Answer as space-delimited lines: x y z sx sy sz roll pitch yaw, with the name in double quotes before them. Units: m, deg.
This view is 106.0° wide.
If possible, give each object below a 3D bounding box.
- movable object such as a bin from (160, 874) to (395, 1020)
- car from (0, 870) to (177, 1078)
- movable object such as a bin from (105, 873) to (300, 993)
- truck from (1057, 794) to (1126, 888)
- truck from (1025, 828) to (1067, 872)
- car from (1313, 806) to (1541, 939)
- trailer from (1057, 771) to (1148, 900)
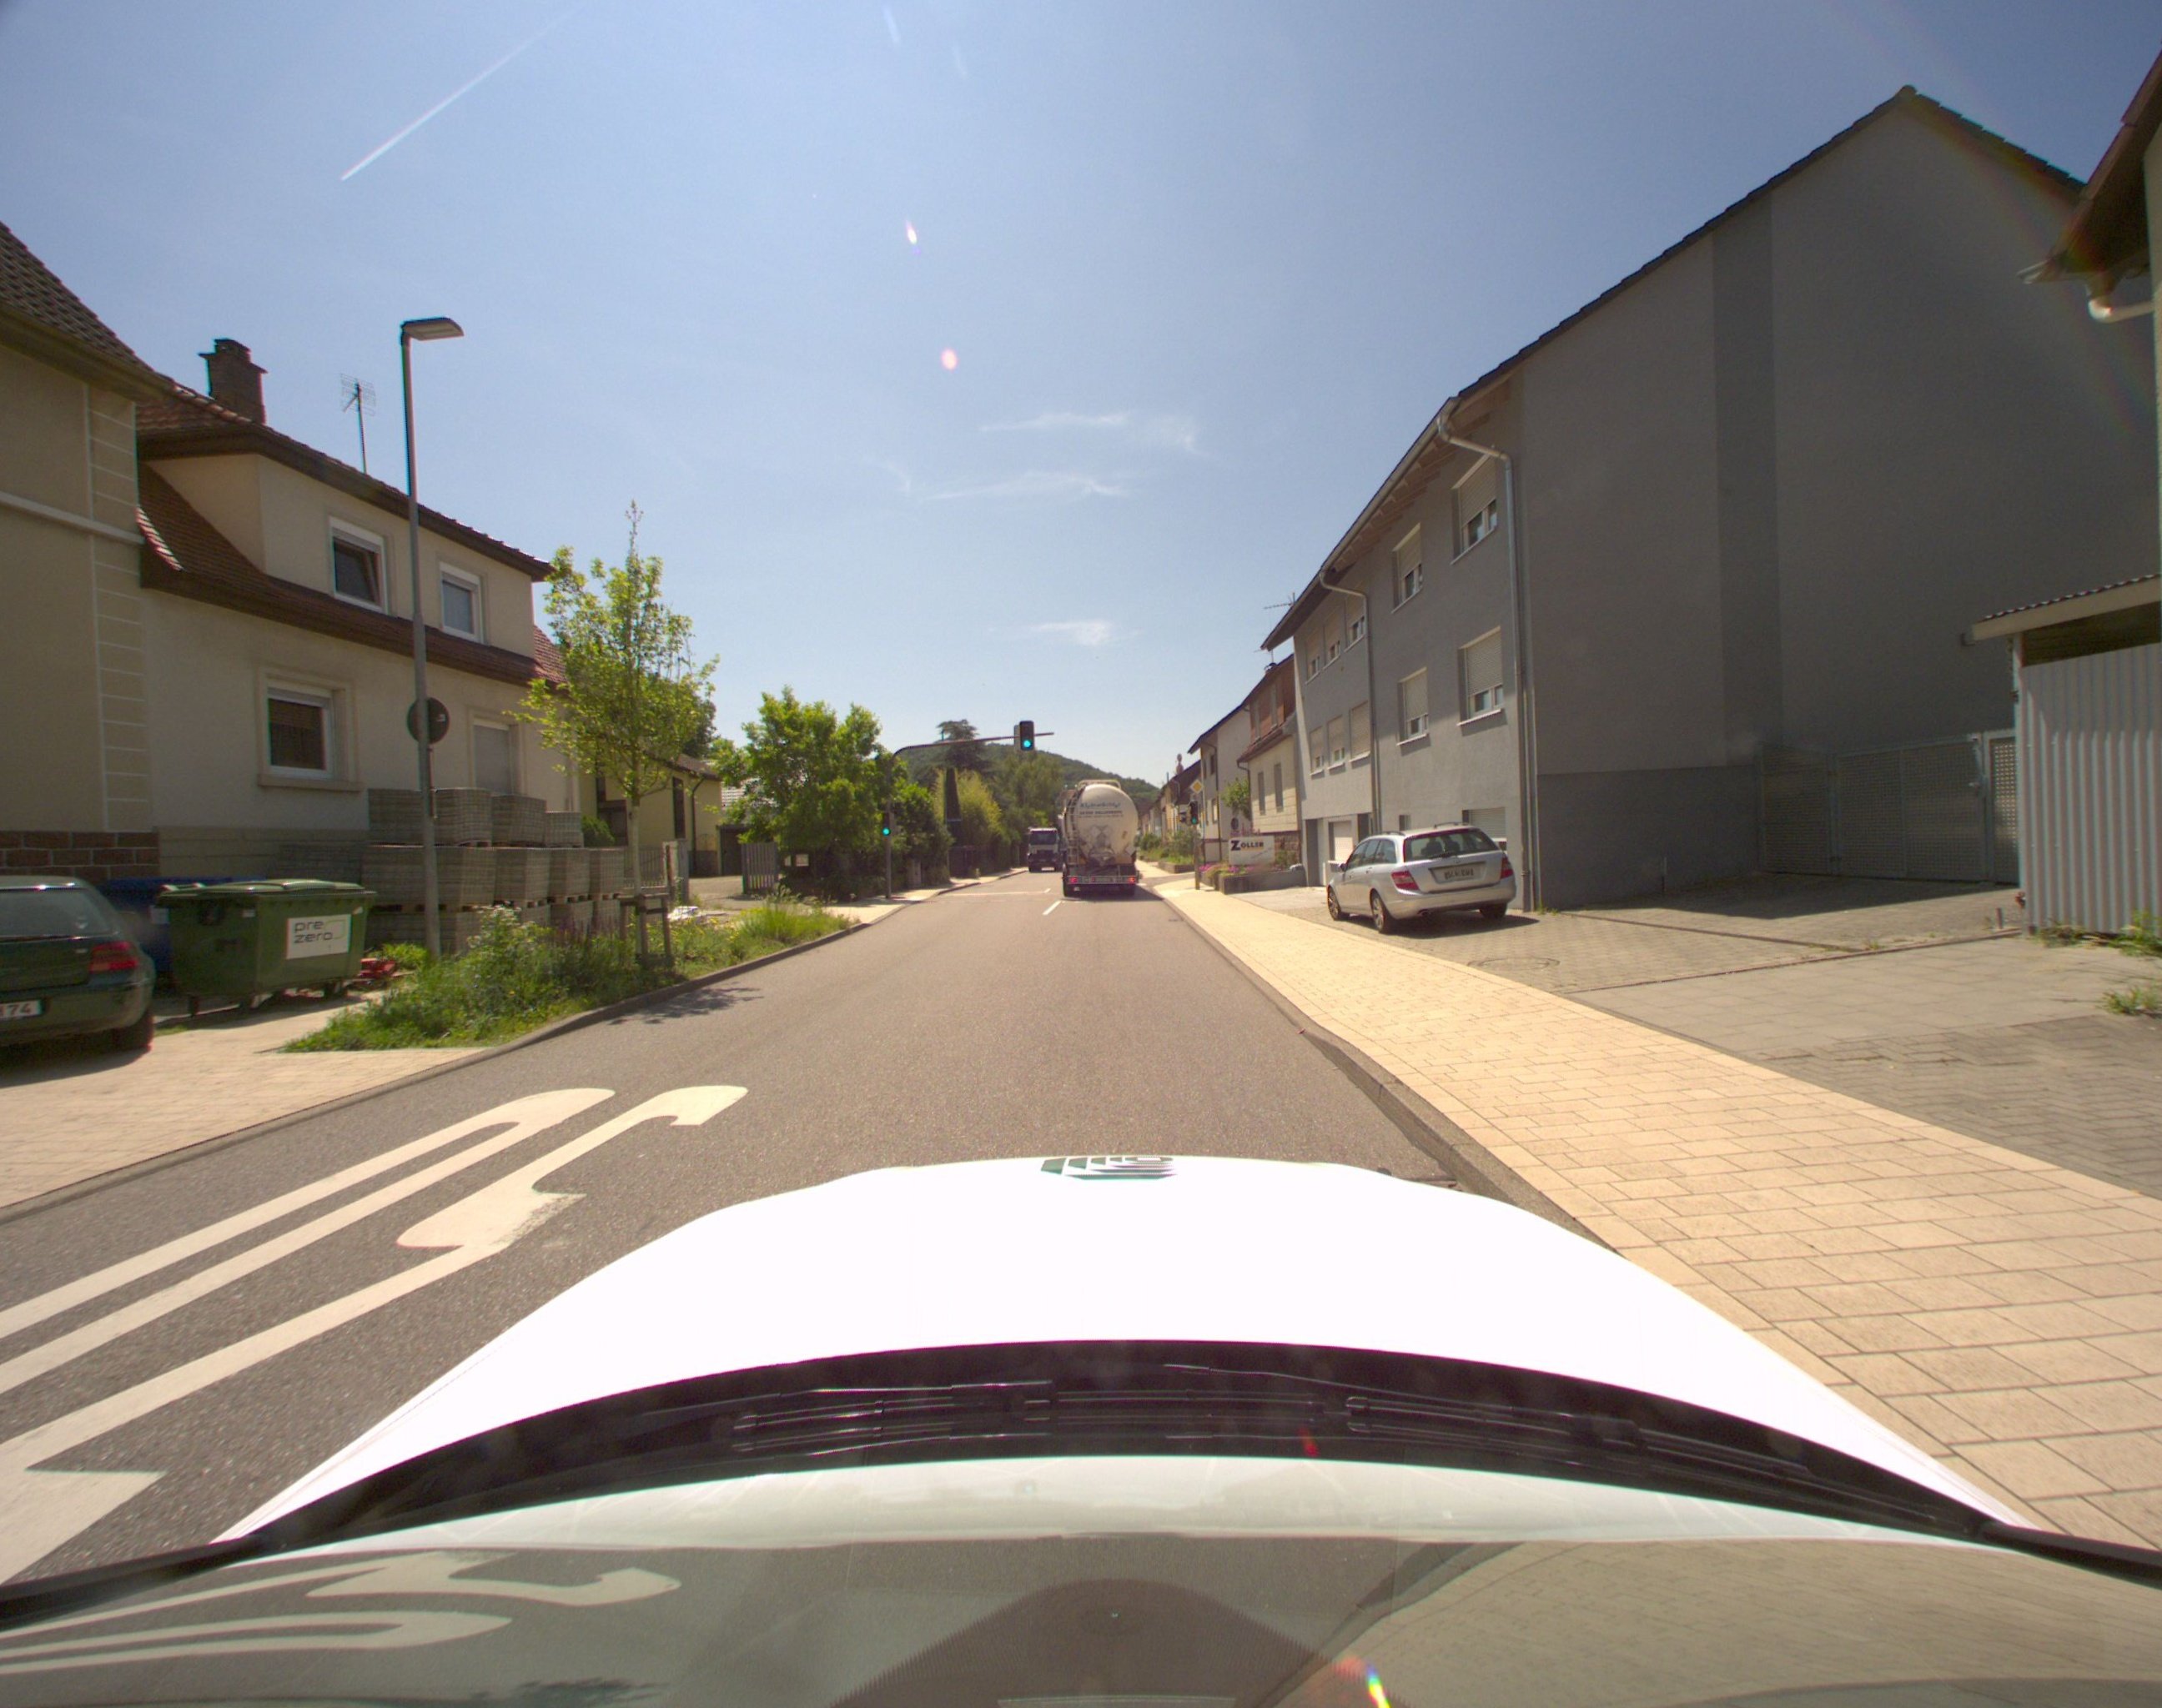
"movable object such as a bin" -8.443 0.931 8.656 0.984 1.319 1.406 -1 2 6
"car" -9.094 0.911 6.755 3.505 1.439 1.710 -2 0 35
"movable object such as a bin" -10.284 0.894 9.585 1.233 1.268 0.889 -1 2 -1
"truck" 0.352 -0.555 37.262 2.802 3.937 6.093 -1 0 -3
"truck" -2.731 -0.336 66.784 2.718 3.371 8.639 -1 0 2
"car" 5.123 0.241 12.821 1.783 1.541 4.524 -6 0 4
"trailer" 0.570 -0.594 30.907 2.788 4.001 10.317 -1 0 -1
